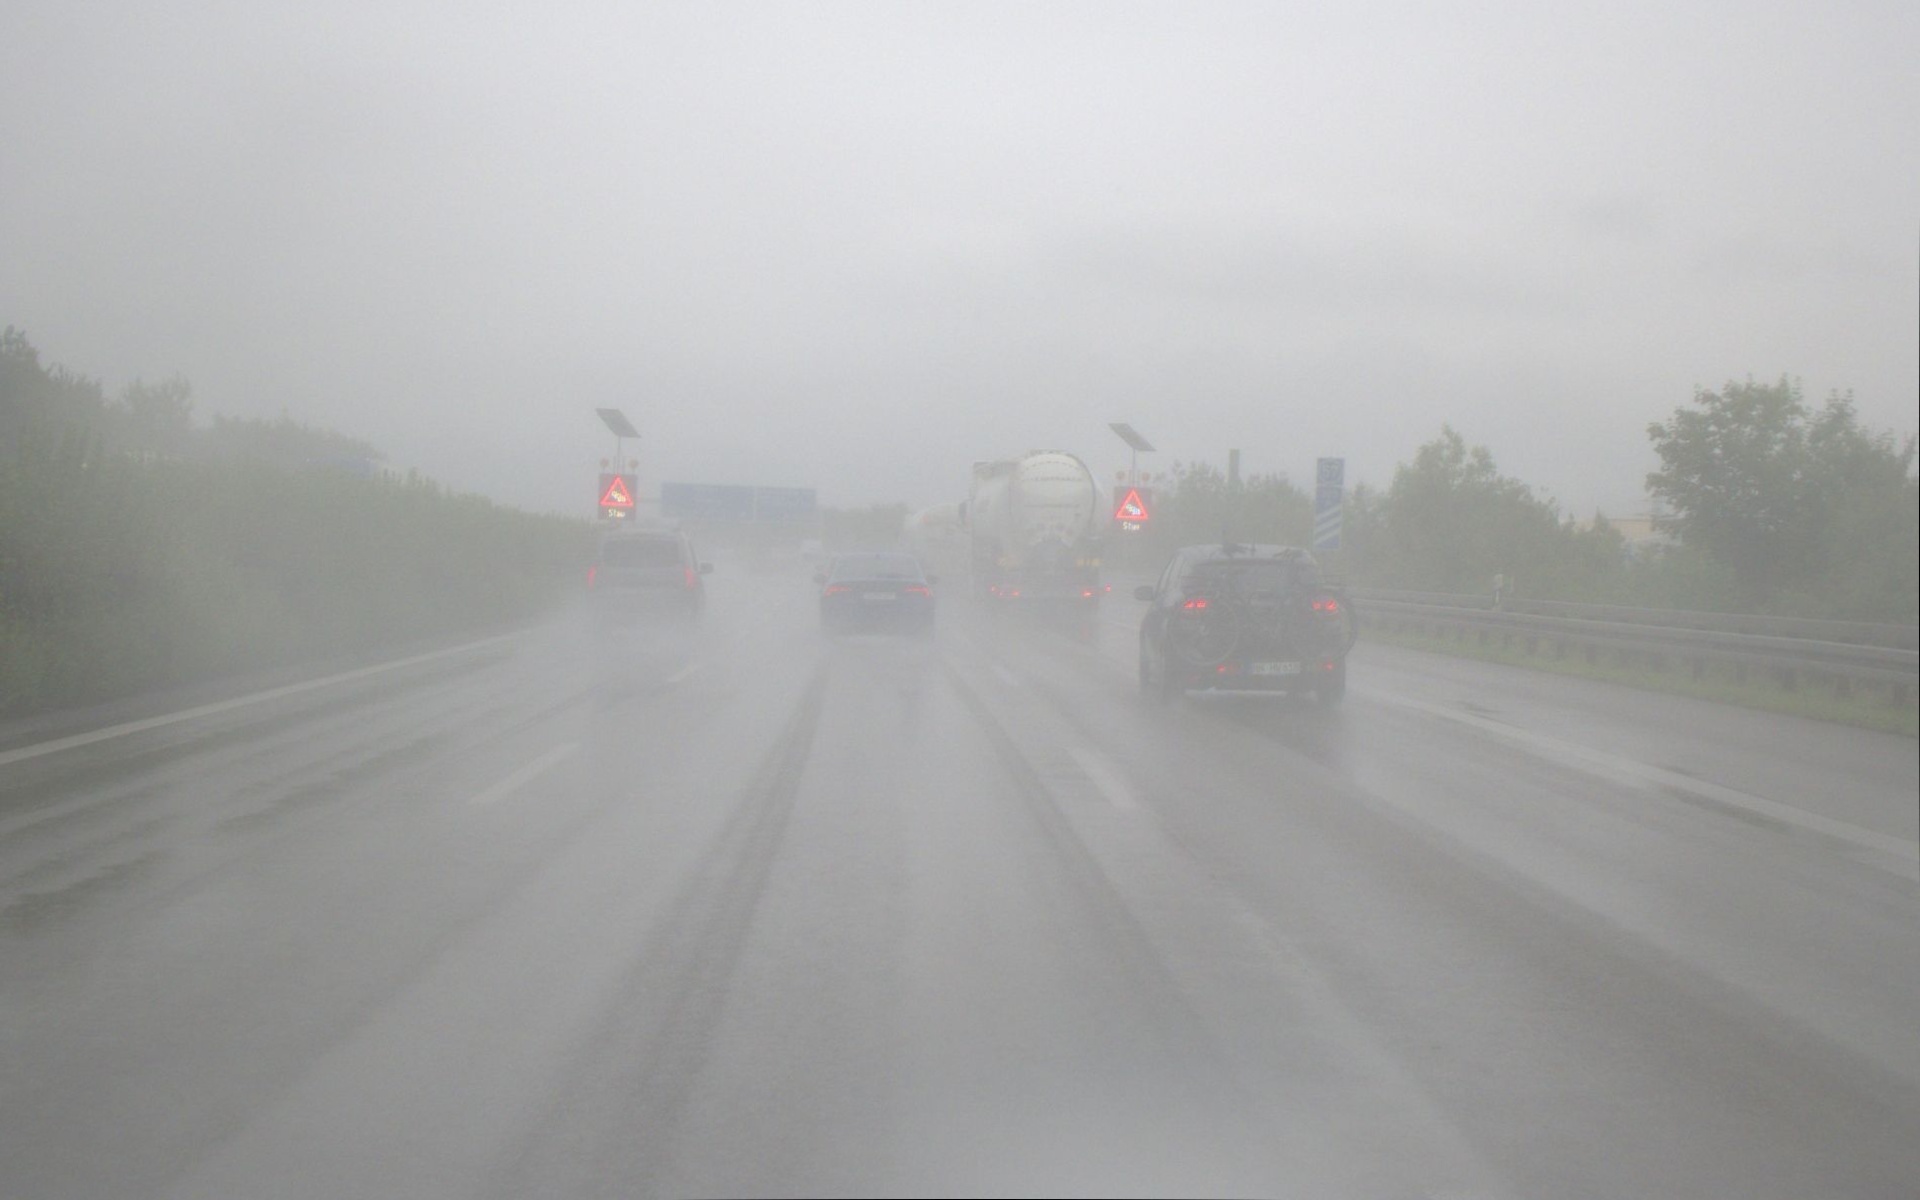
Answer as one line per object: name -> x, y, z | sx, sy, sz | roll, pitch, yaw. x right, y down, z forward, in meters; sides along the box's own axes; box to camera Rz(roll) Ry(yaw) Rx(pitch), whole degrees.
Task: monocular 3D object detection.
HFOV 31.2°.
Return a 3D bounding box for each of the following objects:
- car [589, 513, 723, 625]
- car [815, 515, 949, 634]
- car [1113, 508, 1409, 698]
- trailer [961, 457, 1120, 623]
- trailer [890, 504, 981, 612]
car -> -4.968, -0.533, 56.662 | 1.925, 1.735, 4.404 | 1, 1, -2
car -> -1.240, -0.423, 53.694 | 1.978, 1.750, 4.482 | 1, 1, -2
car -> 2.942, -0.024, 35.016 | 2.457, 1.740, 5.719 | 1, 1, 0
trailer -> 1.798, -1.434, 82.126 | 3.188, 3.657, 11.668 | 1, 1, -1
trailer -> -0.966, -1.528, 126.586 | 3.004, 3.835, 8.624 | 0, 0, -3
